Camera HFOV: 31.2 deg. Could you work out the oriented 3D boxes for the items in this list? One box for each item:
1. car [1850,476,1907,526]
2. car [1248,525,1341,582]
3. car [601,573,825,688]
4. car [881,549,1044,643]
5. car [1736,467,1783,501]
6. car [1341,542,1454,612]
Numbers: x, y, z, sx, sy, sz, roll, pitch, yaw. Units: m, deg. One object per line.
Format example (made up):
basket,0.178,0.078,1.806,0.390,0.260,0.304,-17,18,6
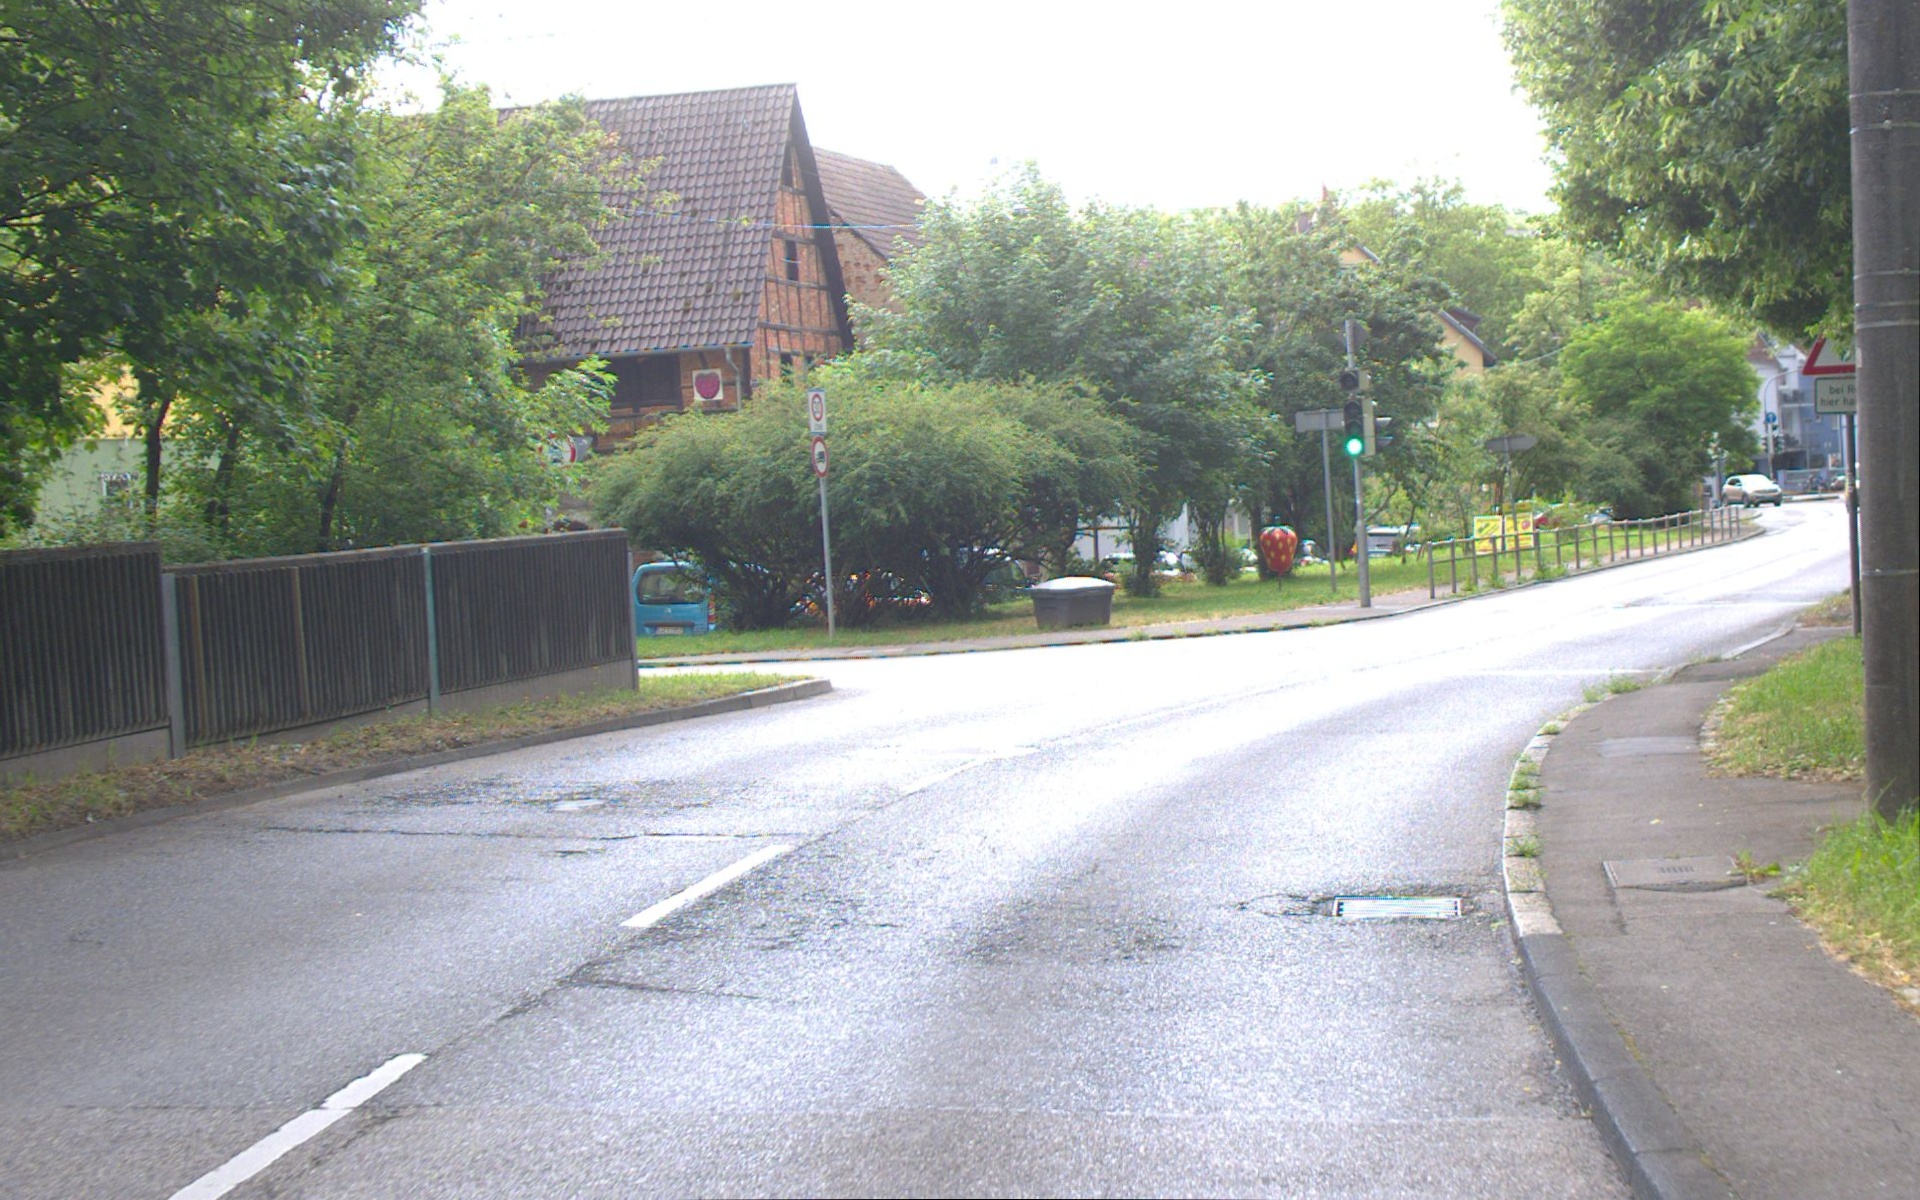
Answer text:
car,37.065,-4.004,138.615,1.847,1.924,4.765,-2,1,19
car,8.622,-1.199,88.562,1.554,1.273,2.551,-4,1,25
car,-4.127,0.483,58.229,1.995,1.612,4.443,-4,1,21
car,0.092,-0.099,68.834,1.813,1.612,3.996,-4,1,22
car,38.819,-5.632,166.895,1.706,1.506,3.997,-5,1,19
car,12.266,-0.652,96.163,1.923,1.689,3.995,-4,1,25
